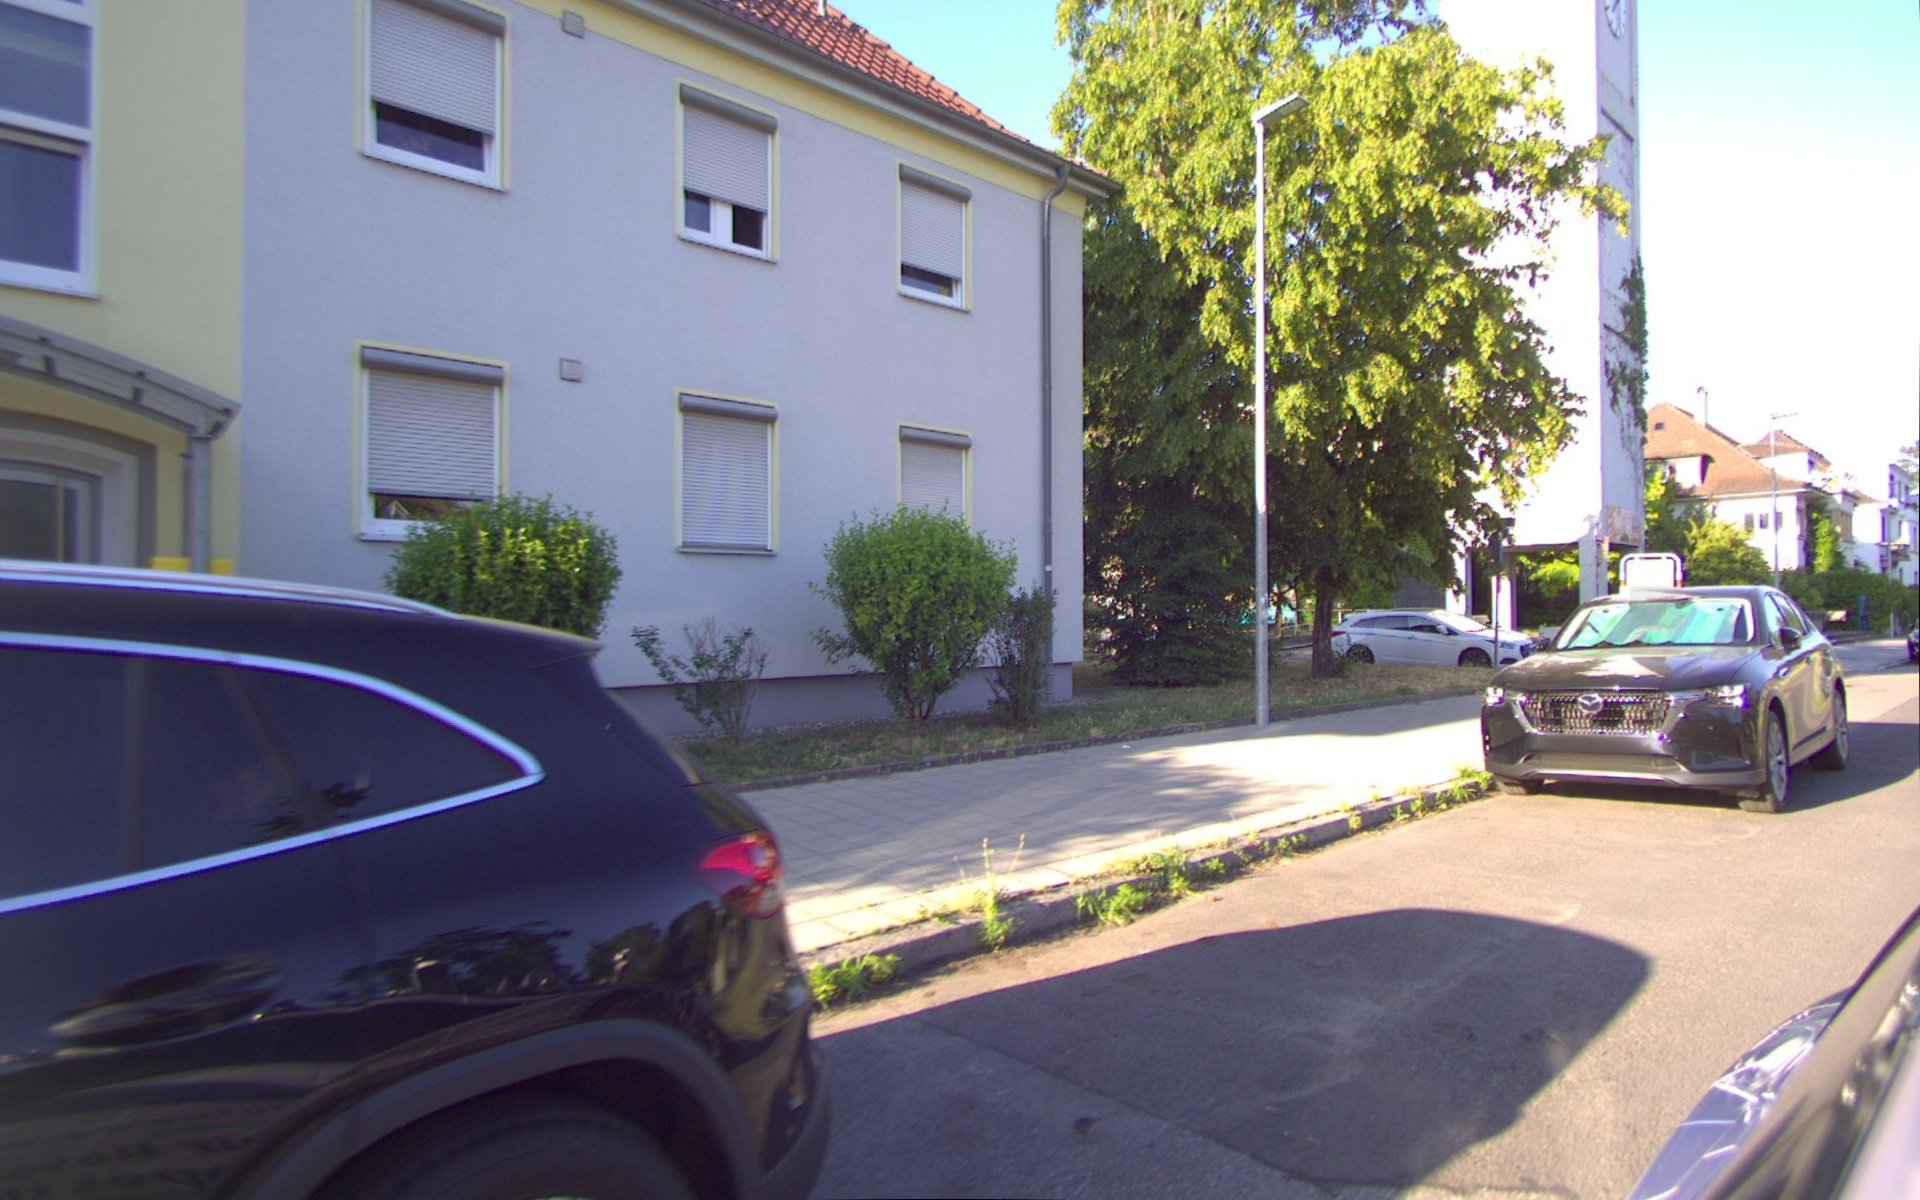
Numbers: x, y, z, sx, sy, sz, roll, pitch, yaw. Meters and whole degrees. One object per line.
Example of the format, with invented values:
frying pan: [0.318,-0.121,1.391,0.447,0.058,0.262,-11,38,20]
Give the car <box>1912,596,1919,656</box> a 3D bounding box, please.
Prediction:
car: [27.450,0.638,27.391,4.539,1.582,1.824,1,-6,-40]

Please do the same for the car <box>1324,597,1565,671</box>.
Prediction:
car: [11.532,0.723,24.374,1.968,1.504,4.855,-4,3,-40]

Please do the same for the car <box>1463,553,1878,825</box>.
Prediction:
car: [6.418,0.582,8.878,4.944,1.754,1.835,0,-1,-41]

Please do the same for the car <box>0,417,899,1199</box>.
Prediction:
car: [-2.450,0.688,1.137,4.540,1.743,1.936,1,-3,-41]
